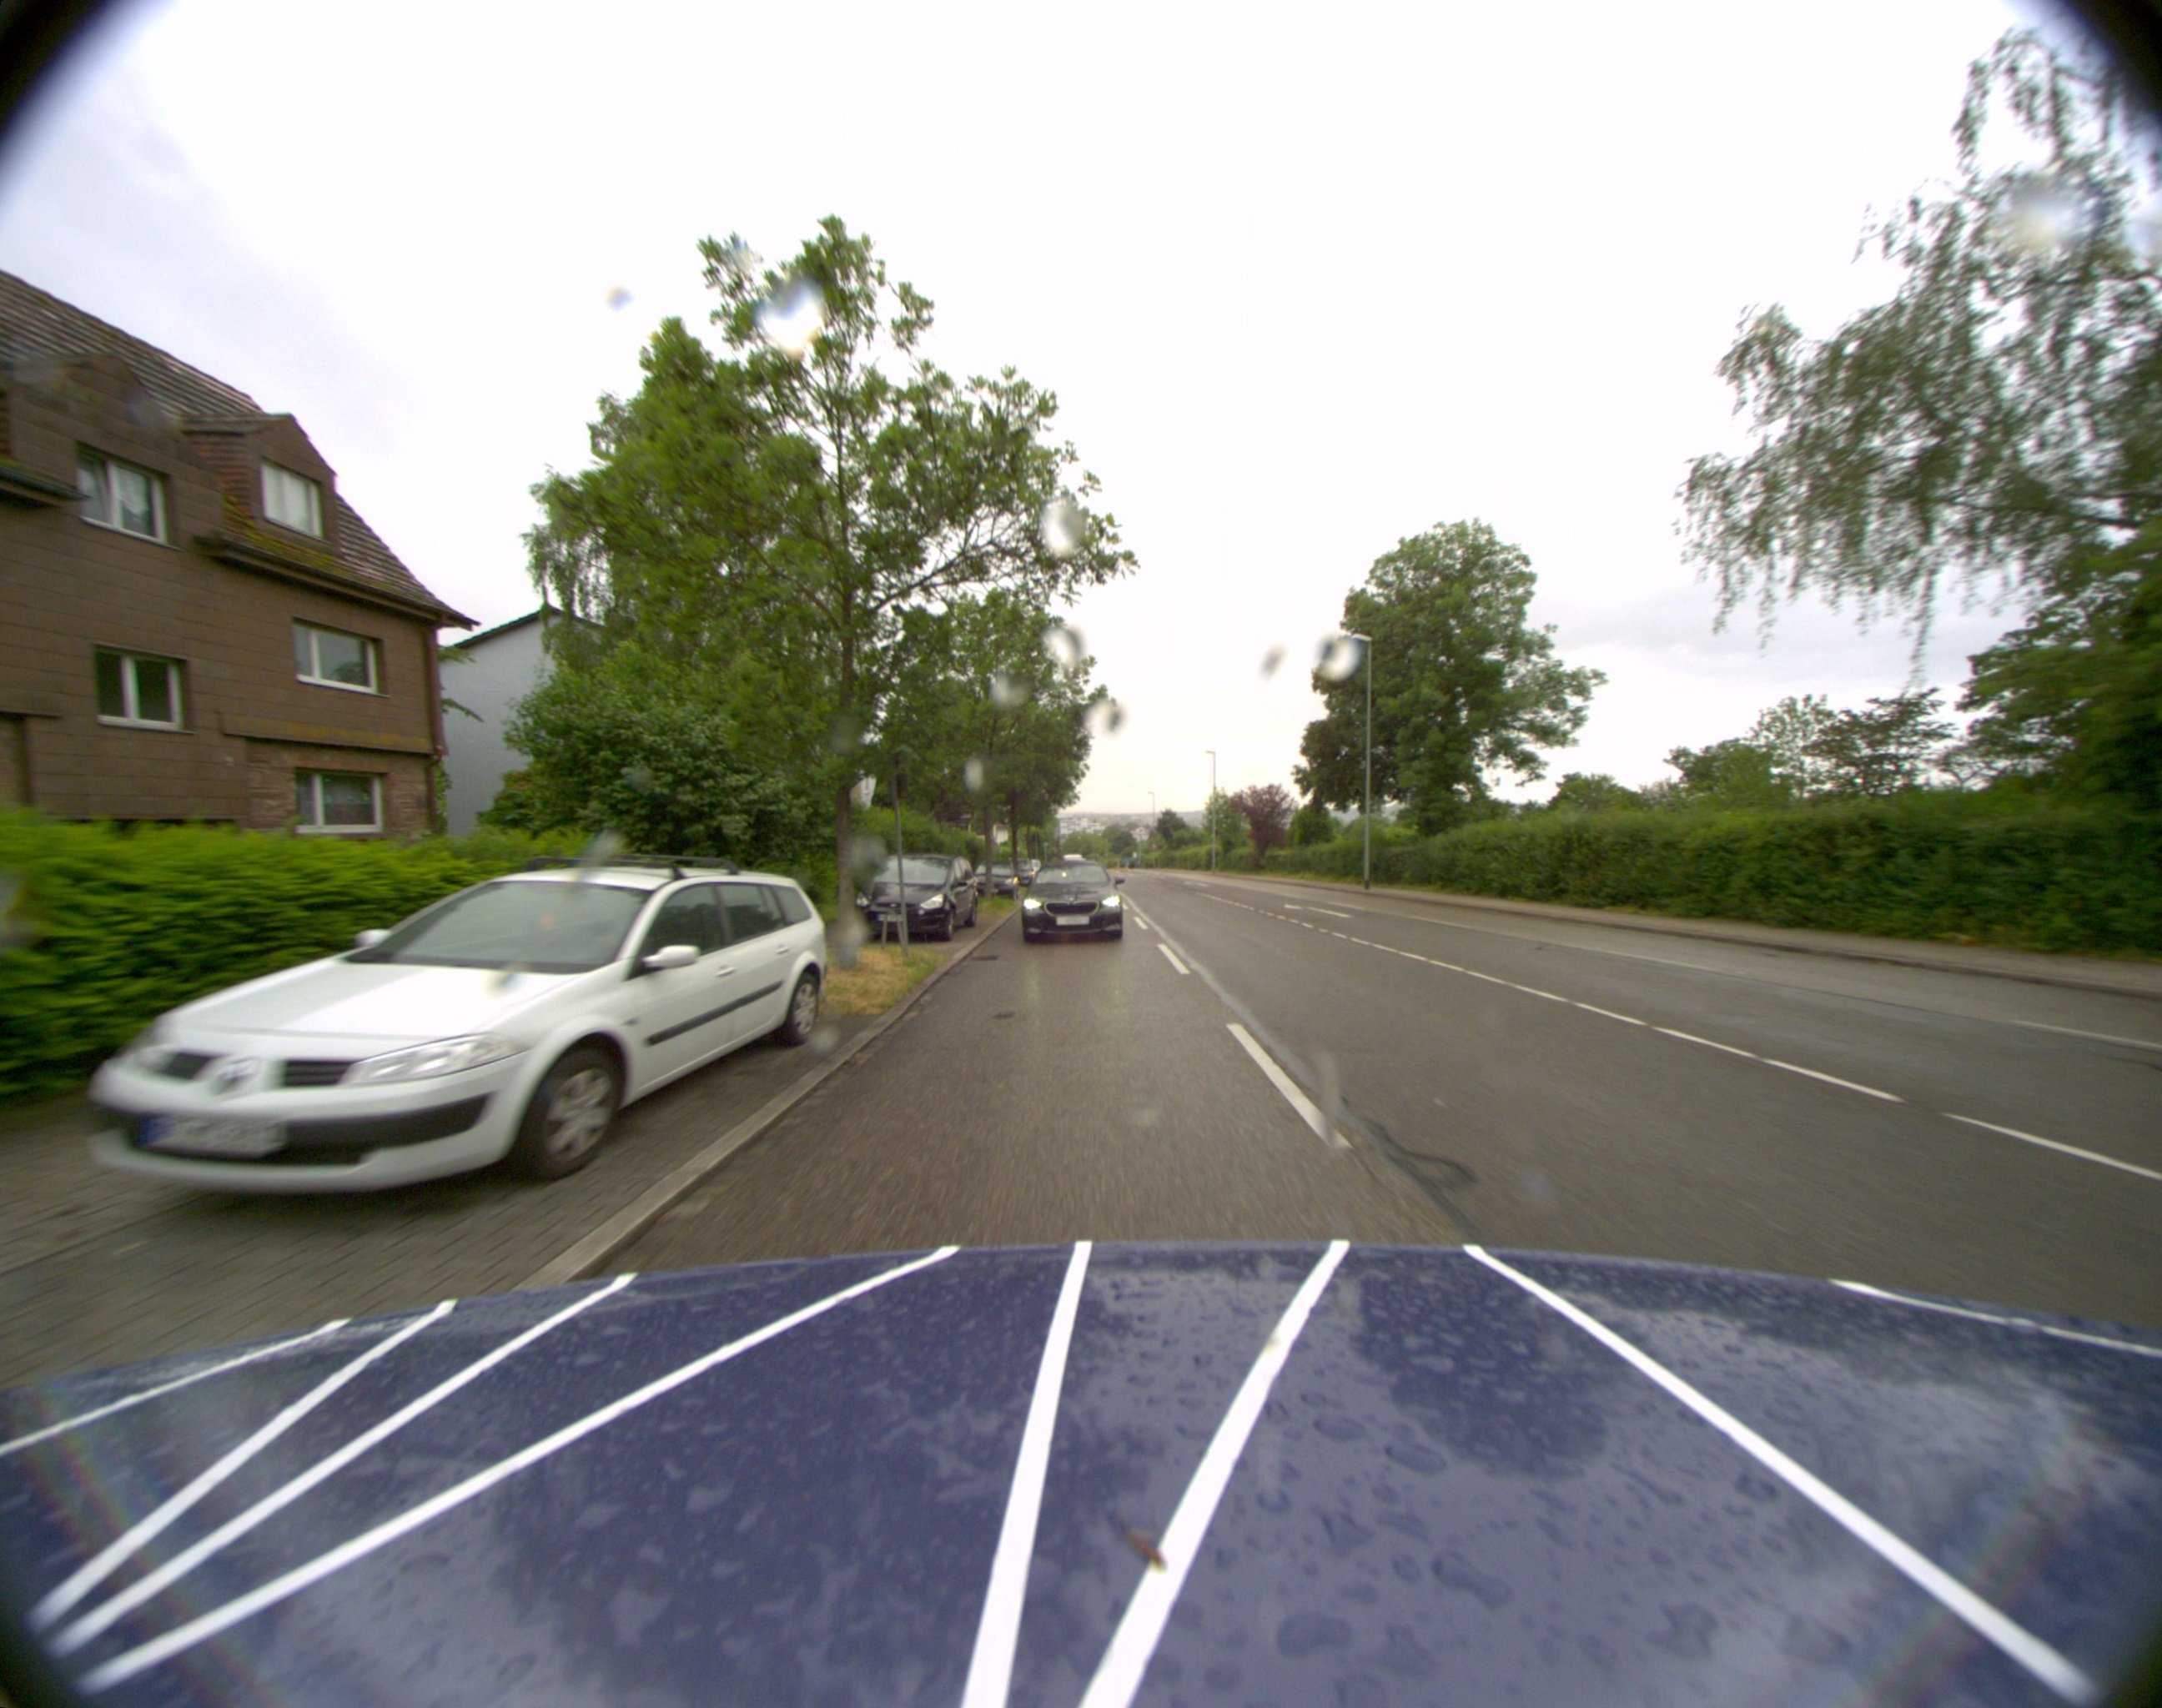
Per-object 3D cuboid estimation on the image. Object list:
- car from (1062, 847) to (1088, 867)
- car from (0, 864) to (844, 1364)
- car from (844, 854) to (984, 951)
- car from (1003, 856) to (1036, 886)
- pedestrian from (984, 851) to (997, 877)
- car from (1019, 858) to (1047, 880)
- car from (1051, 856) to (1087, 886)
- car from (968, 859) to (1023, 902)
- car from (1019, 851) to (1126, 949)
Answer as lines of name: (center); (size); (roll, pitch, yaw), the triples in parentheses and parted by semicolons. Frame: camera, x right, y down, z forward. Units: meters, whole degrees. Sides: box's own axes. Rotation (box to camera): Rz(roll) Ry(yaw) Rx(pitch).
car: (-0.543, 0.278, 65.464); (1.999, 1.674, 4.172); (0, 0, -4)
car: (-3.270, 0.907, 4.842); (1.828, 1.593, 4.475); (1, 0, 4)
car: (-3.259, 0.862, 15.766); (1.829, 1.668, 4.584); (1, 0, 0)
car: (-3.369, 0.902, 42.226); (1.646, 1.586, 4.013); (1, 0, -2)
pedestrian: (-5.851, 0.662, 49.286); (0.709, 1.670, 0.654); (1, 1, 7)
car: (-3.404, 1.049, 54.524); (1.803, 1.513, 4.591); (1, 0, -1)
car: (-0.649, 0.948, 44.215); (1.998, 1.674, 4.174); (0, 0, 0)
car: (-3.165, 0.945, 28.797); (1.726, 1.503, 3.785); (1, 0, -2)
car: (-0.127, 0.815, 15.584); (1.829, 1.668, 4.296); (-2, 0, 0)
